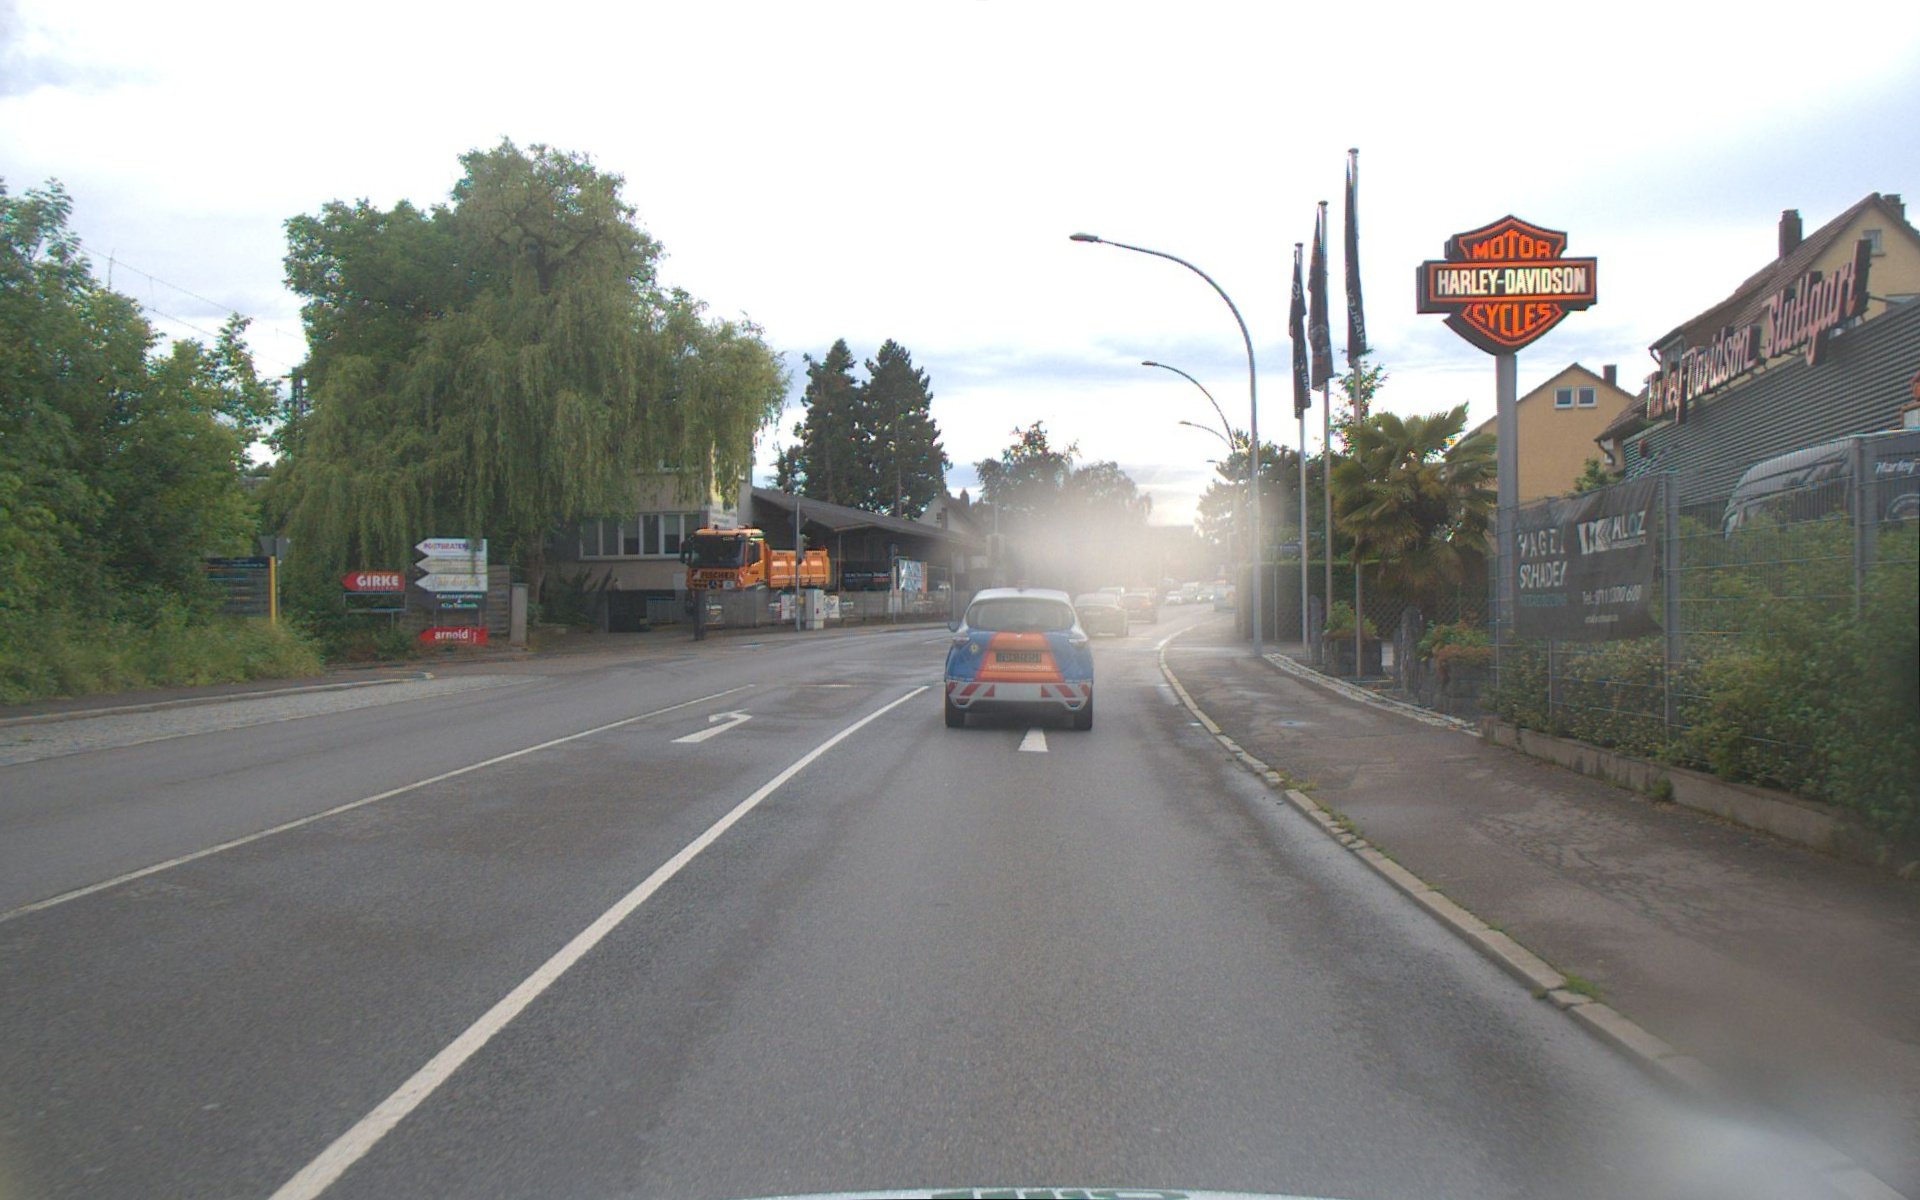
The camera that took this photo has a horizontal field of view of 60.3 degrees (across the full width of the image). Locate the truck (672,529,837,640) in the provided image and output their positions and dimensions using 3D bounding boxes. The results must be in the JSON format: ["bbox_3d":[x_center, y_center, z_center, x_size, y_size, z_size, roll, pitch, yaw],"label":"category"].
[{"bbox_3d":[-7.225,-0.419,59.791,2.640,3.471,9.077,2,-2,14],"label":"truck"}]

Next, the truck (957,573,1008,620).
[{"bbox_3d":[1.599,-0.220,113.141,2.343,2.978,5.961,2,-1,12],"label":"truck"}]

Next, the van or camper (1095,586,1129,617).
[{"bbox_3d":[11.161,0.148,121.175,1.850,2.049,5.100,2,-2,11],"label":"van or camper"}]

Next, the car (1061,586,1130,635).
[{"bbox_3d":[4.251,0.353,52.305,1.686,1.400,3.931,3,-2,-2],"label":"car"}]

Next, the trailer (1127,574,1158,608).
[{"bbox_3d":[16.325,-0.833,147.940,2.176,2.043,4.446,-11,6,10],"label":"trailer"}]

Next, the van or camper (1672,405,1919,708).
[{"bbox_3d":[9.439,-0.384,17.518,1.997,2.639,6.595,0,0,10],"label":"van or camper"}]

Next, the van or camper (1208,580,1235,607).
[{"bbox_3d":[18.656,-0.486,117.908,1.717,1.916,4.004,0,0,11],"label":"van or camper"}]

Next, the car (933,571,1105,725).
[{"bbox_3d":[0.771,0.509,19.974,1.849,1.660,4.002,0,0,4],"label":"car"}]

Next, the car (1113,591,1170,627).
[{"bbox_3d":[8.462,0.448,76.782,1.951,1.445,4.002,2,-2,15],"label":"car"}]
